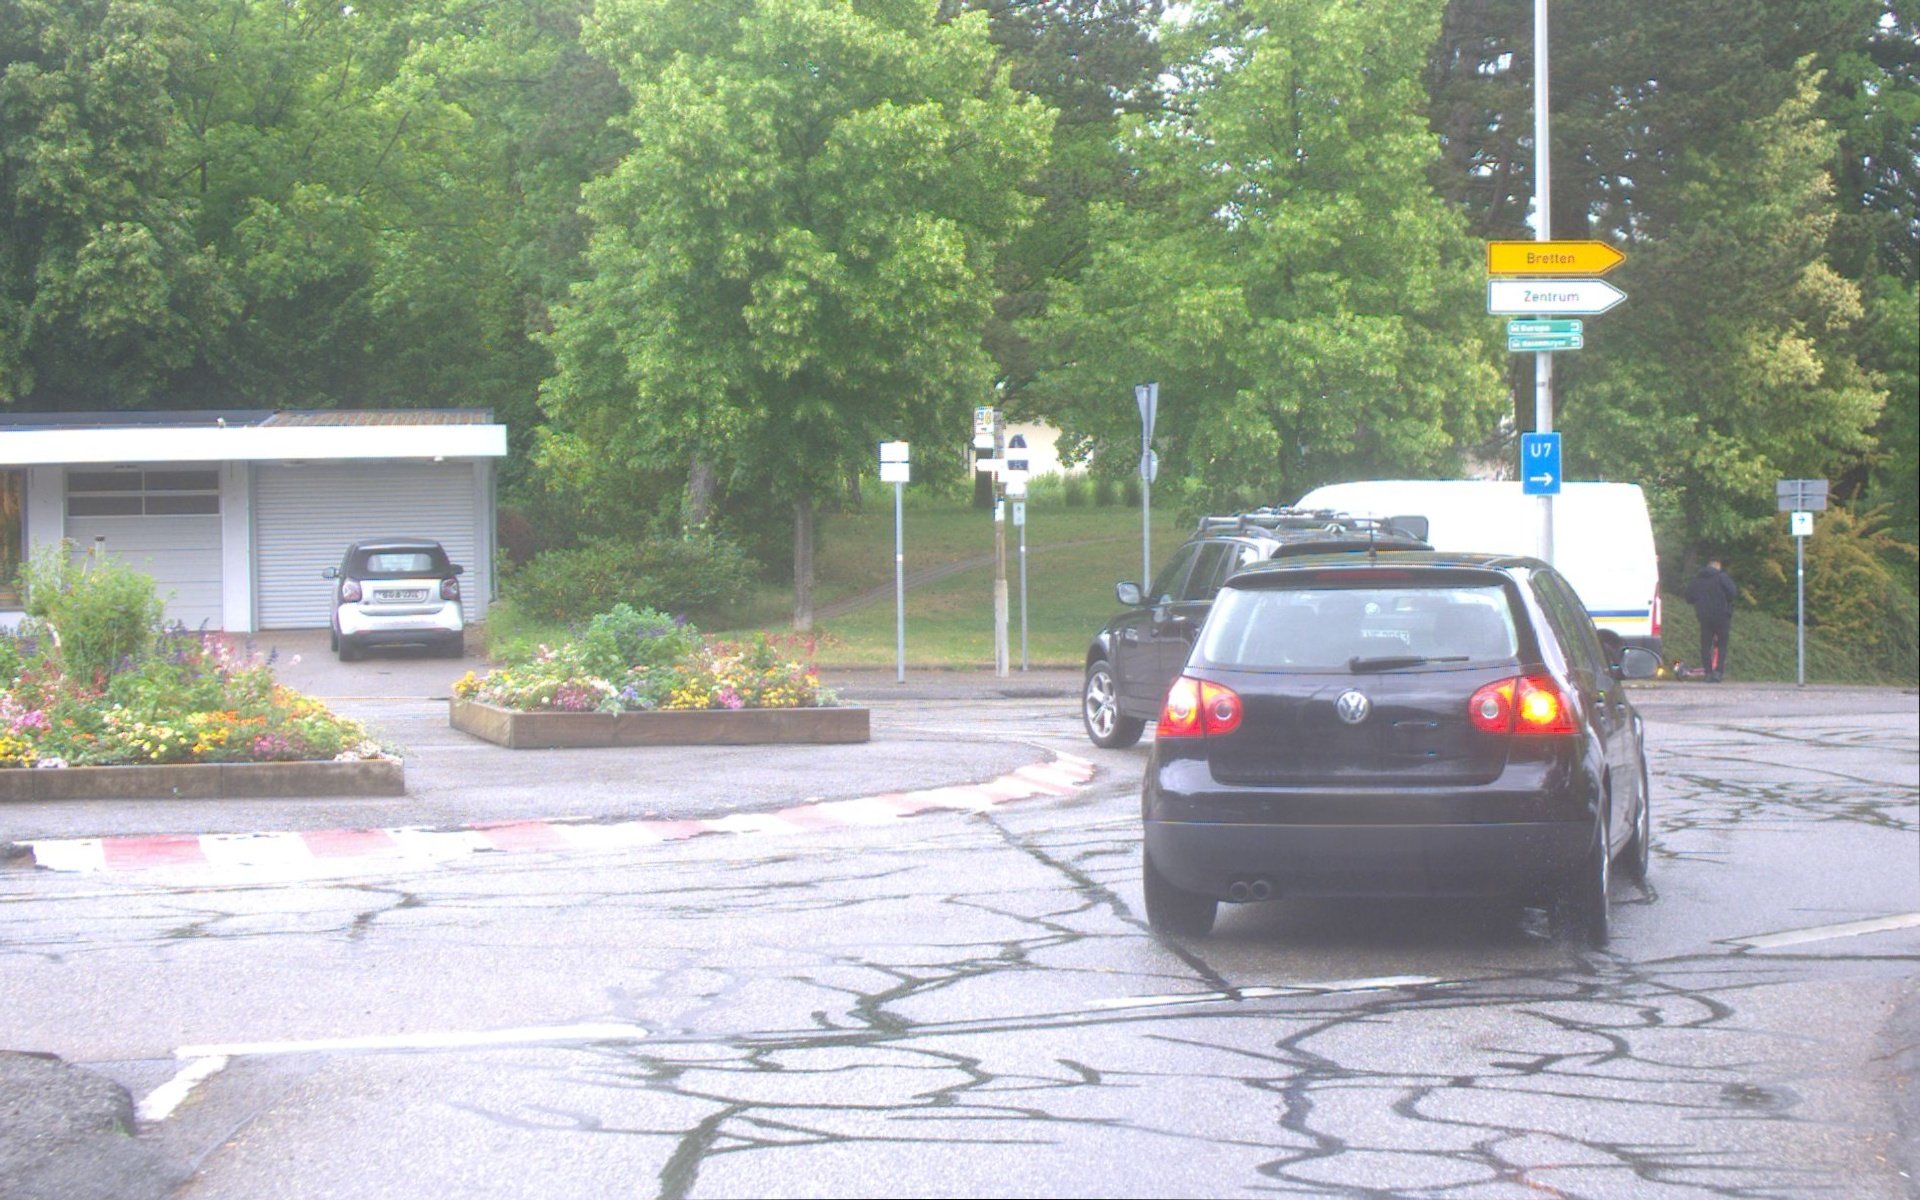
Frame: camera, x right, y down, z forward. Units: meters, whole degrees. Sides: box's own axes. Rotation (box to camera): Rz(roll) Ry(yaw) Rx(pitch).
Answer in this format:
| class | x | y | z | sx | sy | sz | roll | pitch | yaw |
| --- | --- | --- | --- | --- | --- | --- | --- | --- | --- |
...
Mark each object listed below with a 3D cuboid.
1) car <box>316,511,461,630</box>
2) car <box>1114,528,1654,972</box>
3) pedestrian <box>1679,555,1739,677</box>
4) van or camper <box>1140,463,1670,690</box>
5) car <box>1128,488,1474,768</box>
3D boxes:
| class | x | y | z | sx | sy | sz | roll | pitch | yaw |
| --- | --- | --- | --- | --- | --- | --- | --- | --- | --- |
| car | -7.712 | -0.421 | 46.428 | 1.812 | 1.481 | 3.832 | -2 | 1 | -9 |
| car | 1.881 | 0.485 | 14.147 | 1.766 | 1.533 | 3.998 | 1 | 1 | 13 |
| pedestrian | 10.719 | 0.227 | 49.185 | 0.738 | 1.719 | 0.816 | 1 | 0 | 19 |
| van or camper | 4.987 | -0.237 | 38.239 | 5.650 | 2.370 | 2.201 | 0 | 0 | -30 |
| car | 2.355 | 0.165 | 24.780 | 1.764 | 1.795 | 4.247 | -2 | 1 | -4 |
